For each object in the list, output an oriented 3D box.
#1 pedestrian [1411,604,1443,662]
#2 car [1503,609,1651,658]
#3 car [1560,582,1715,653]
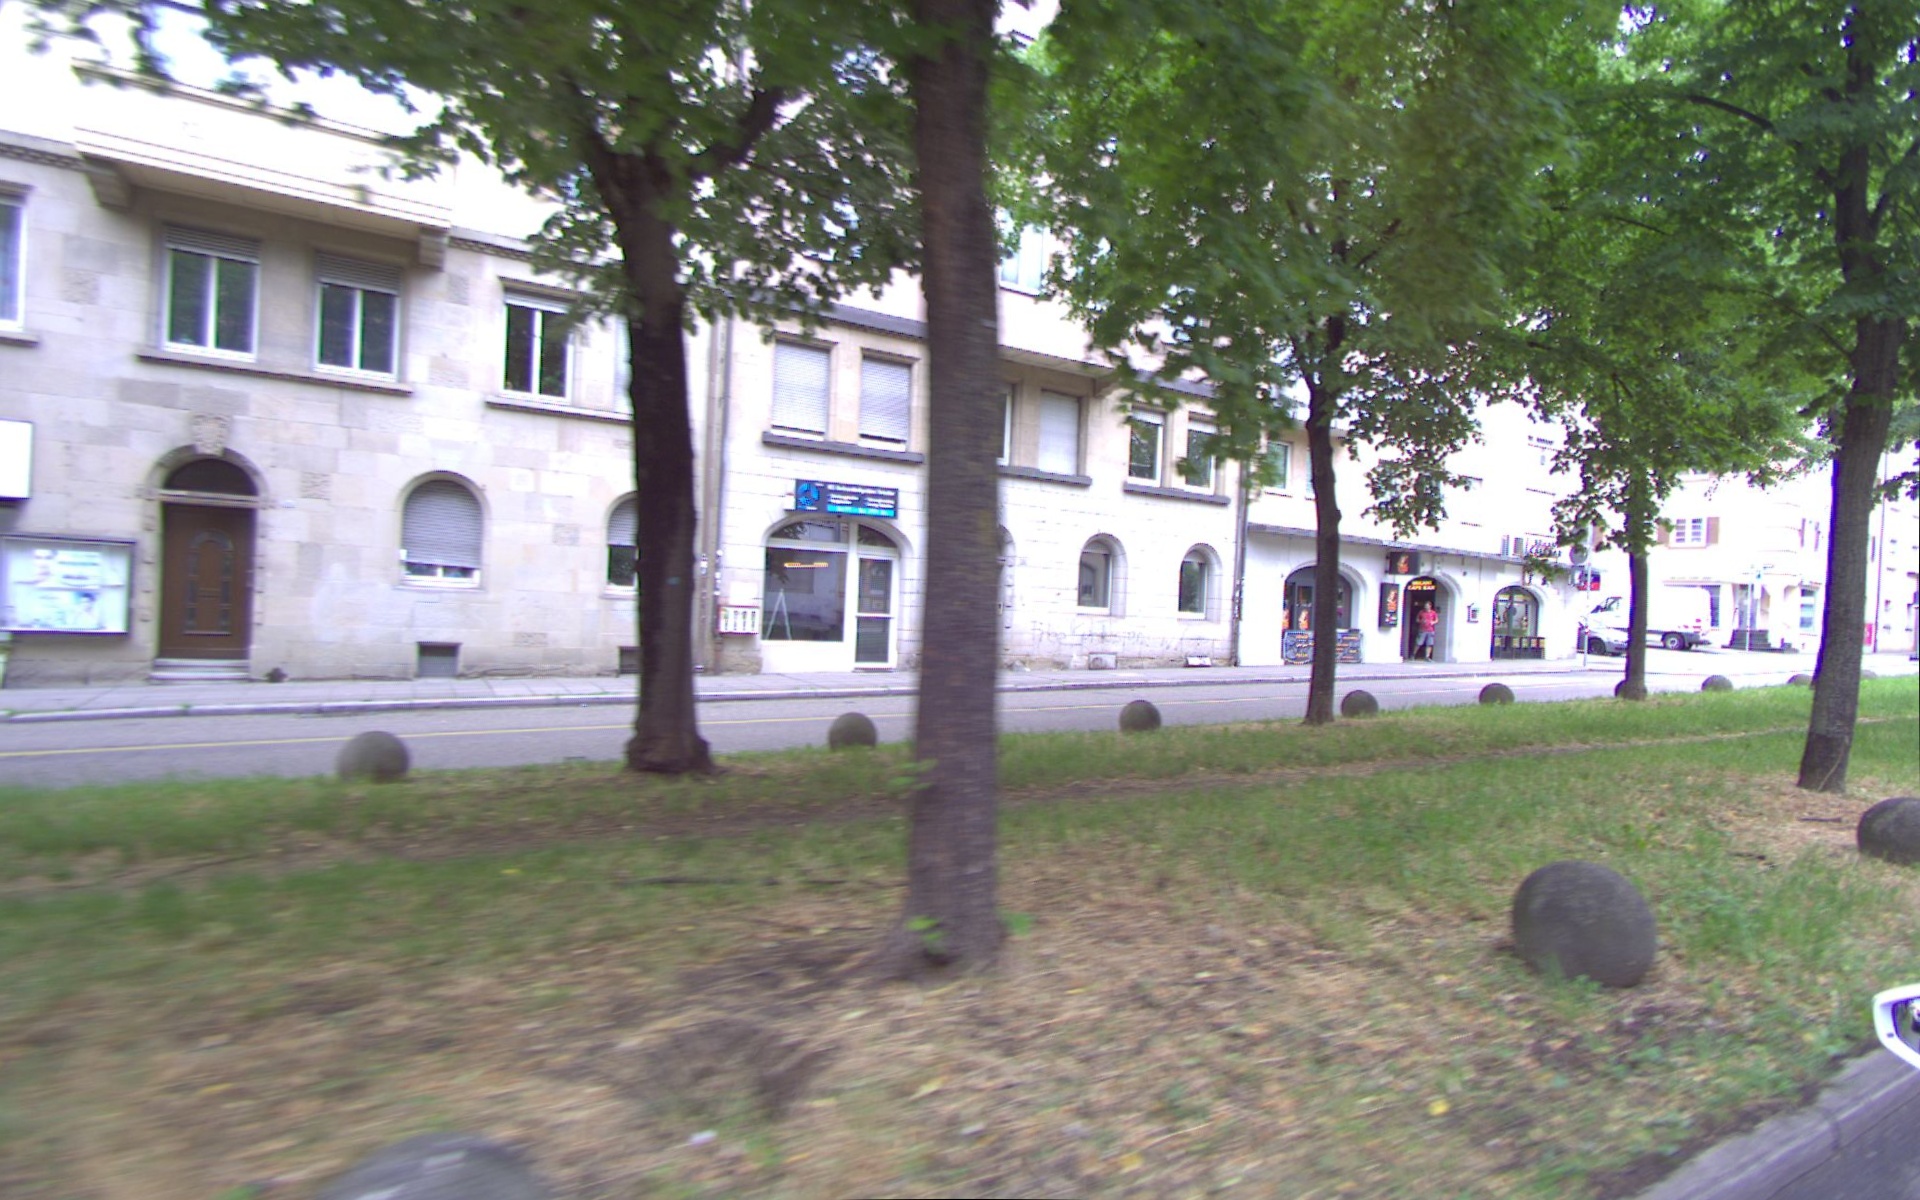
[{"bbox_3d":[13.956,0.977,30.036,0.693,1.688,0.529,1,0,-31],"label":"pedestrian"},{"bbox_3d":[23.071,1.220,37.718,2.024,1.439,4.265,1,3,-31],"label":"car"},{"bbox_3d":[29.455,0.706,43.823,2.160,2.773,5.127,1,1,-41],"label":"car"}]
